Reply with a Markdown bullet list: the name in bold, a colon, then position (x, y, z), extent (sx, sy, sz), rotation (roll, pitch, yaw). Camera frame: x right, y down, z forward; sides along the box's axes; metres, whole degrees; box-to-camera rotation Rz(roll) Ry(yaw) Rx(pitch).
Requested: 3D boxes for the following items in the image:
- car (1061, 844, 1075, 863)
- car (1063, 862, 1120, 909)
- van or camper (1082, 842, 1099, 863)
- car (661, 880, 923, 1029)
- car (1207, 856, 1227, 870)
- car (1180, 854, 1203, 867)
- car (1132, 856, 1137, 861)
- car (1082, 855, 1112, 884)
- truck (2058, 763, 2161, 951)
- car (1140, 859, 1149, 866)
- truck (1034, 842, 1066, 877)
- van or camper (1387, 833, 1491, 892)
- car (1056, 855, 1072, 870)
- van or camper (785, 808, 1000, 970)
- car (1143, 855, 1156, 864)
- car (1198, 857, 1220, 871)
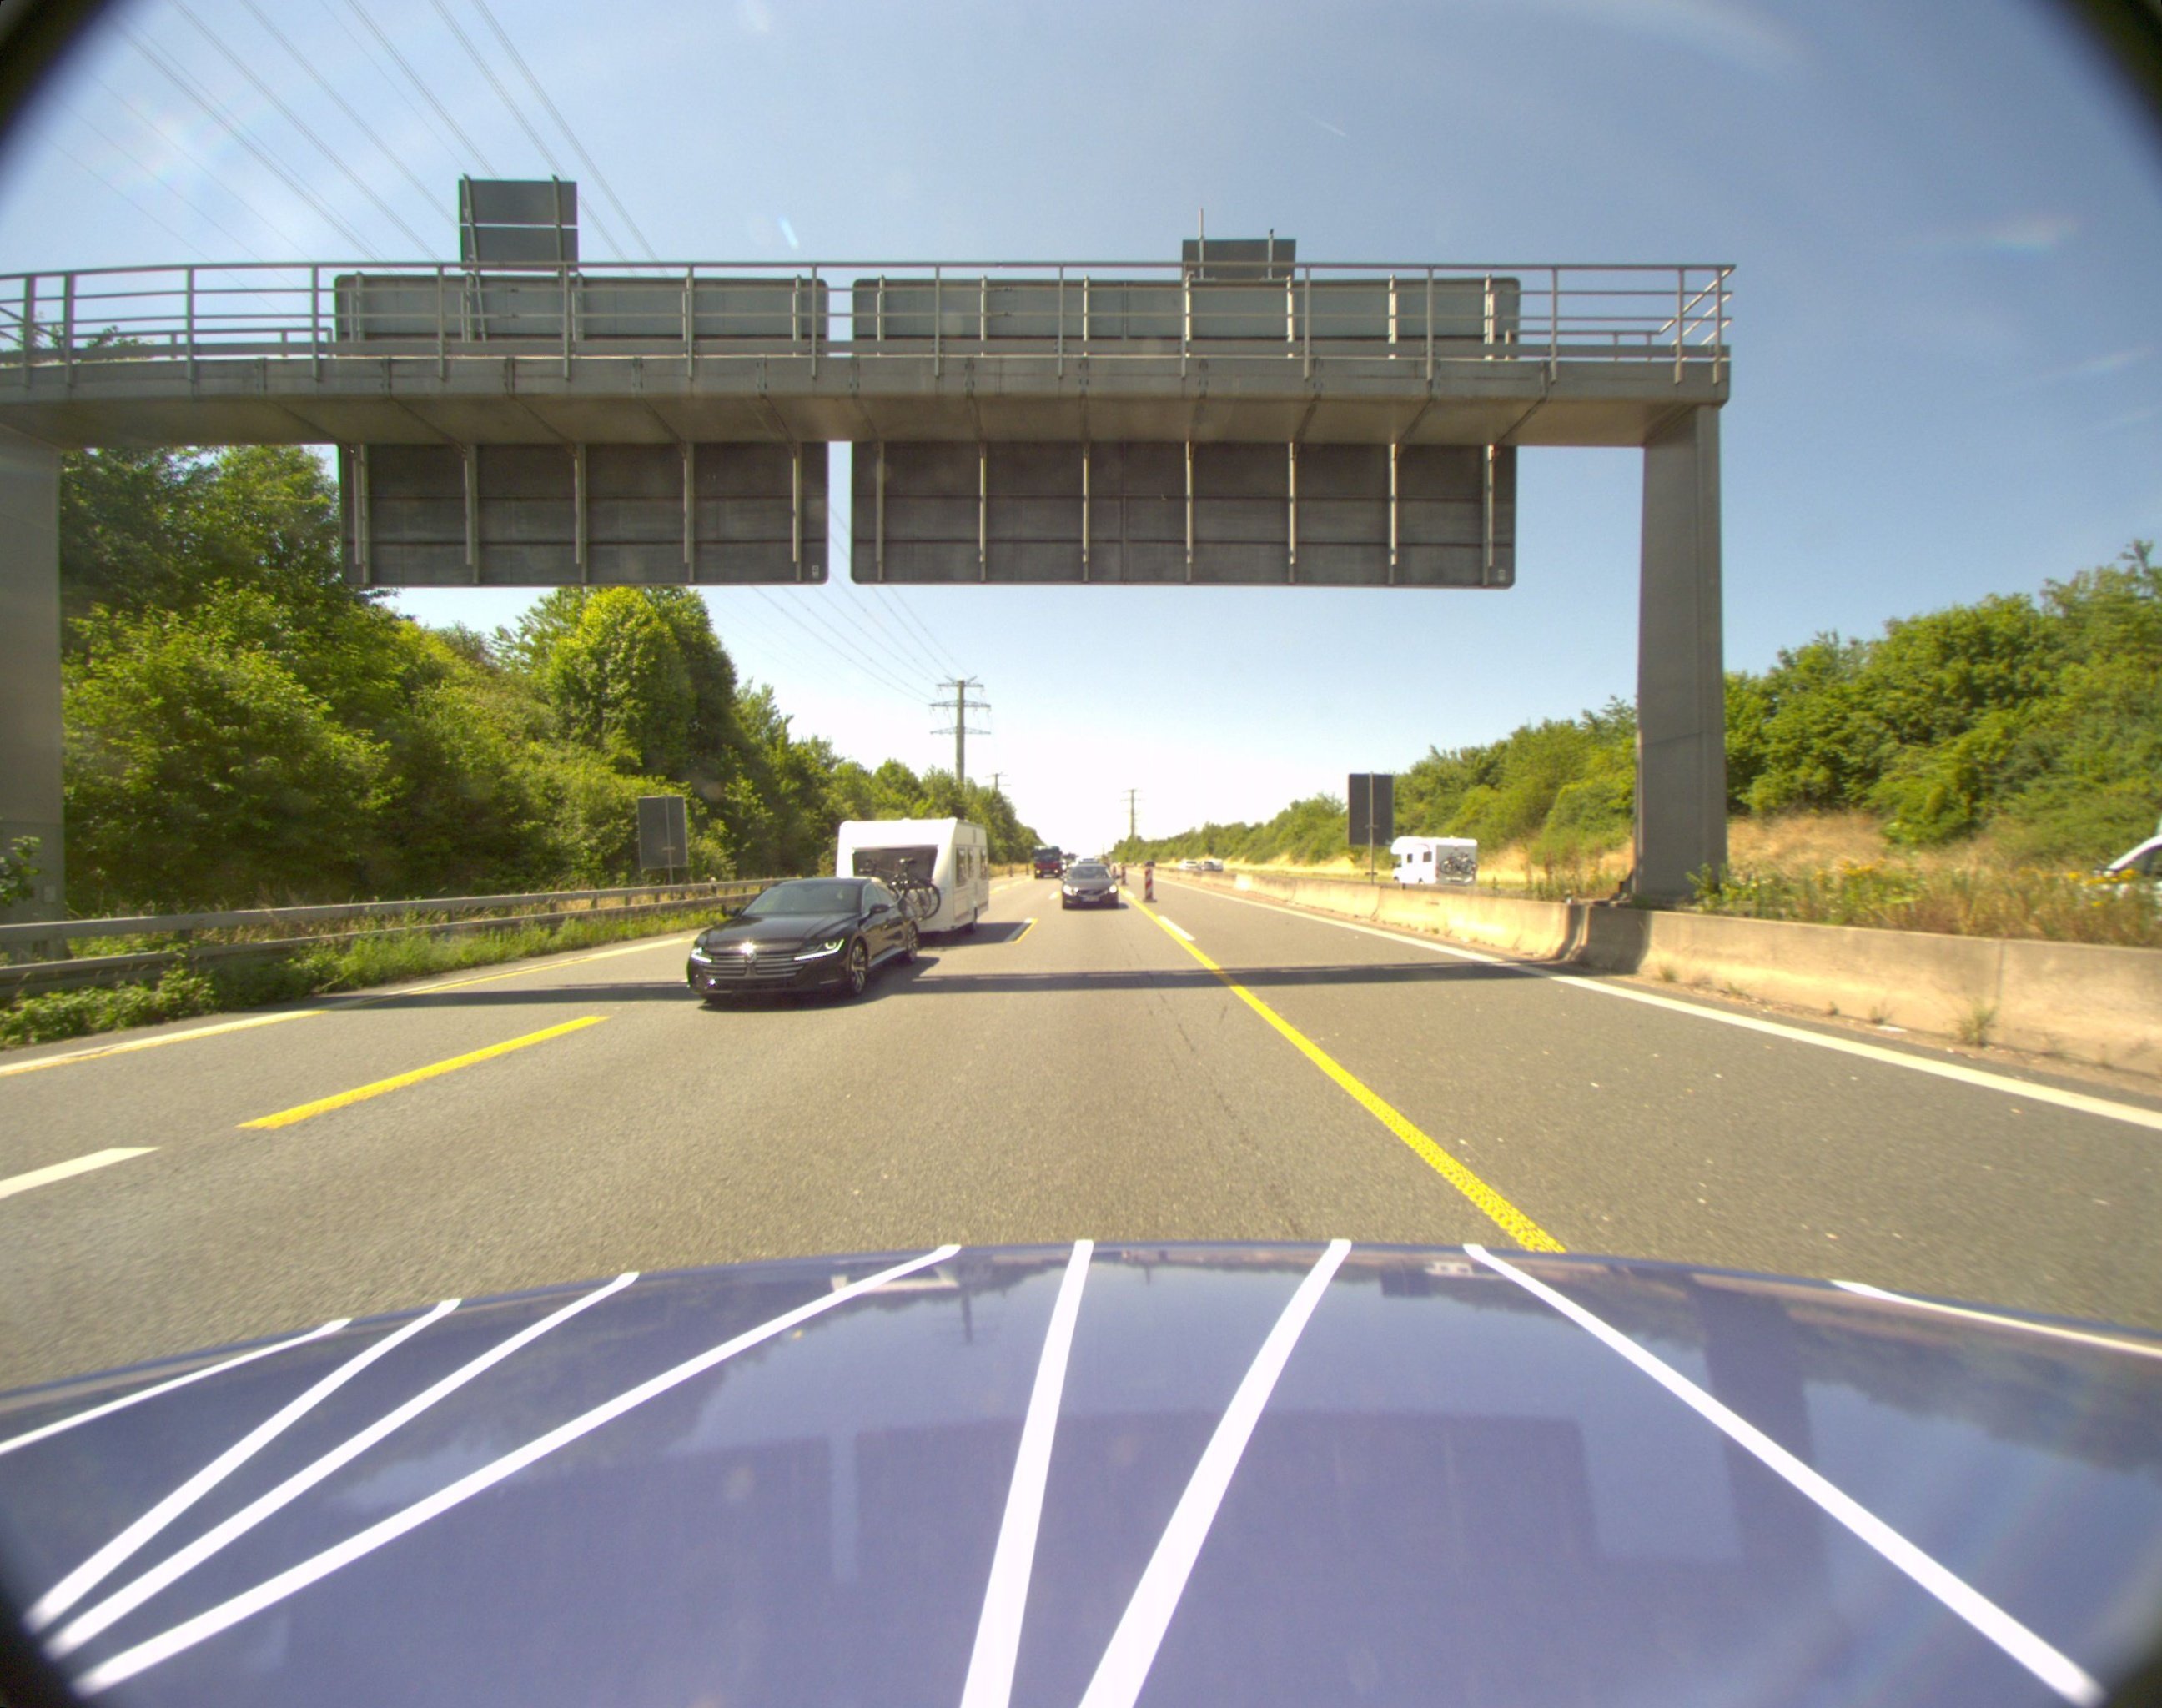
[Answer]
- **car**: position (-2.624, -0.114, 155.539), extent (2.397, 3.779, 10.274), rotation (-2, 0, 1)
- **car**: position (0.321, 1.047, 26.596), extent (1.799, 1.432, 4.000), rotation (-1, 0, 0)
- **van or camper**: position (1.241, -0.173, 97.571), extent (1.998, 2.604, 5.630), rotation (0, 0, 2)
- **car**: position (-3.486, 1.132, 10.114), extent (1.800, 1.399, 4.210), rotation (-2, 0, 0)
- **car**: position (20.181, 1.363, 112.931), extent (1.935, 2.001, 5.597), rotation (0, -1, 0)
- **car**: position (12.339, 0.718, 85.340), extent (1.915, 1.447, 4.356), rotation (-2, 0, 0)
- **car**: position (17.763, 1.383, 252.309), extent (1.503, 1.539, 4.000), rotation (0, 0, 0)
- **car**: position (1.063, 0.952, 48.322), extent (1.675, 1.619, 4.691), rotation (-3, 0, 2)
- **truck**: position (19.874, 0.047, 11.307), extent (2.501, 3.240, 6.365), rotation (0, 0, 0)
- **car**: position (15.311, 2.038, 183.557), extent (1.918, 1.743, 4.565), rotation (-1, 0, 0)
- **truck**: position (-2.946, 0.498, 74.357), extent (2.431, 3.122, 7.649), rotation (-3, 0, 2)
- **van or camper**: position (20.280, 0.449, 43.579), extent (2.441, 3.128, 7.626), rotation (0, 0, 0)
- **car**: position (-2.238, 1.124, 100.368), extent (1.850, 1.810, 3.926), rotation (-2, 0, 1)
- **van or camper**: position (-3.480, 0.580, 16.471), extent (2.432, 2.549, 8.417), rotation (-1, 0, 0)
- **car**: position (12.373, 0.964, 137.252), extent (1.877, 1.684, 4.498), rotation (0, 0, 1)
- **car**: position (16.497, 1.224, 98.045), extent (1.998, 1.772, 4.622), rotation (0, 0, 0)
